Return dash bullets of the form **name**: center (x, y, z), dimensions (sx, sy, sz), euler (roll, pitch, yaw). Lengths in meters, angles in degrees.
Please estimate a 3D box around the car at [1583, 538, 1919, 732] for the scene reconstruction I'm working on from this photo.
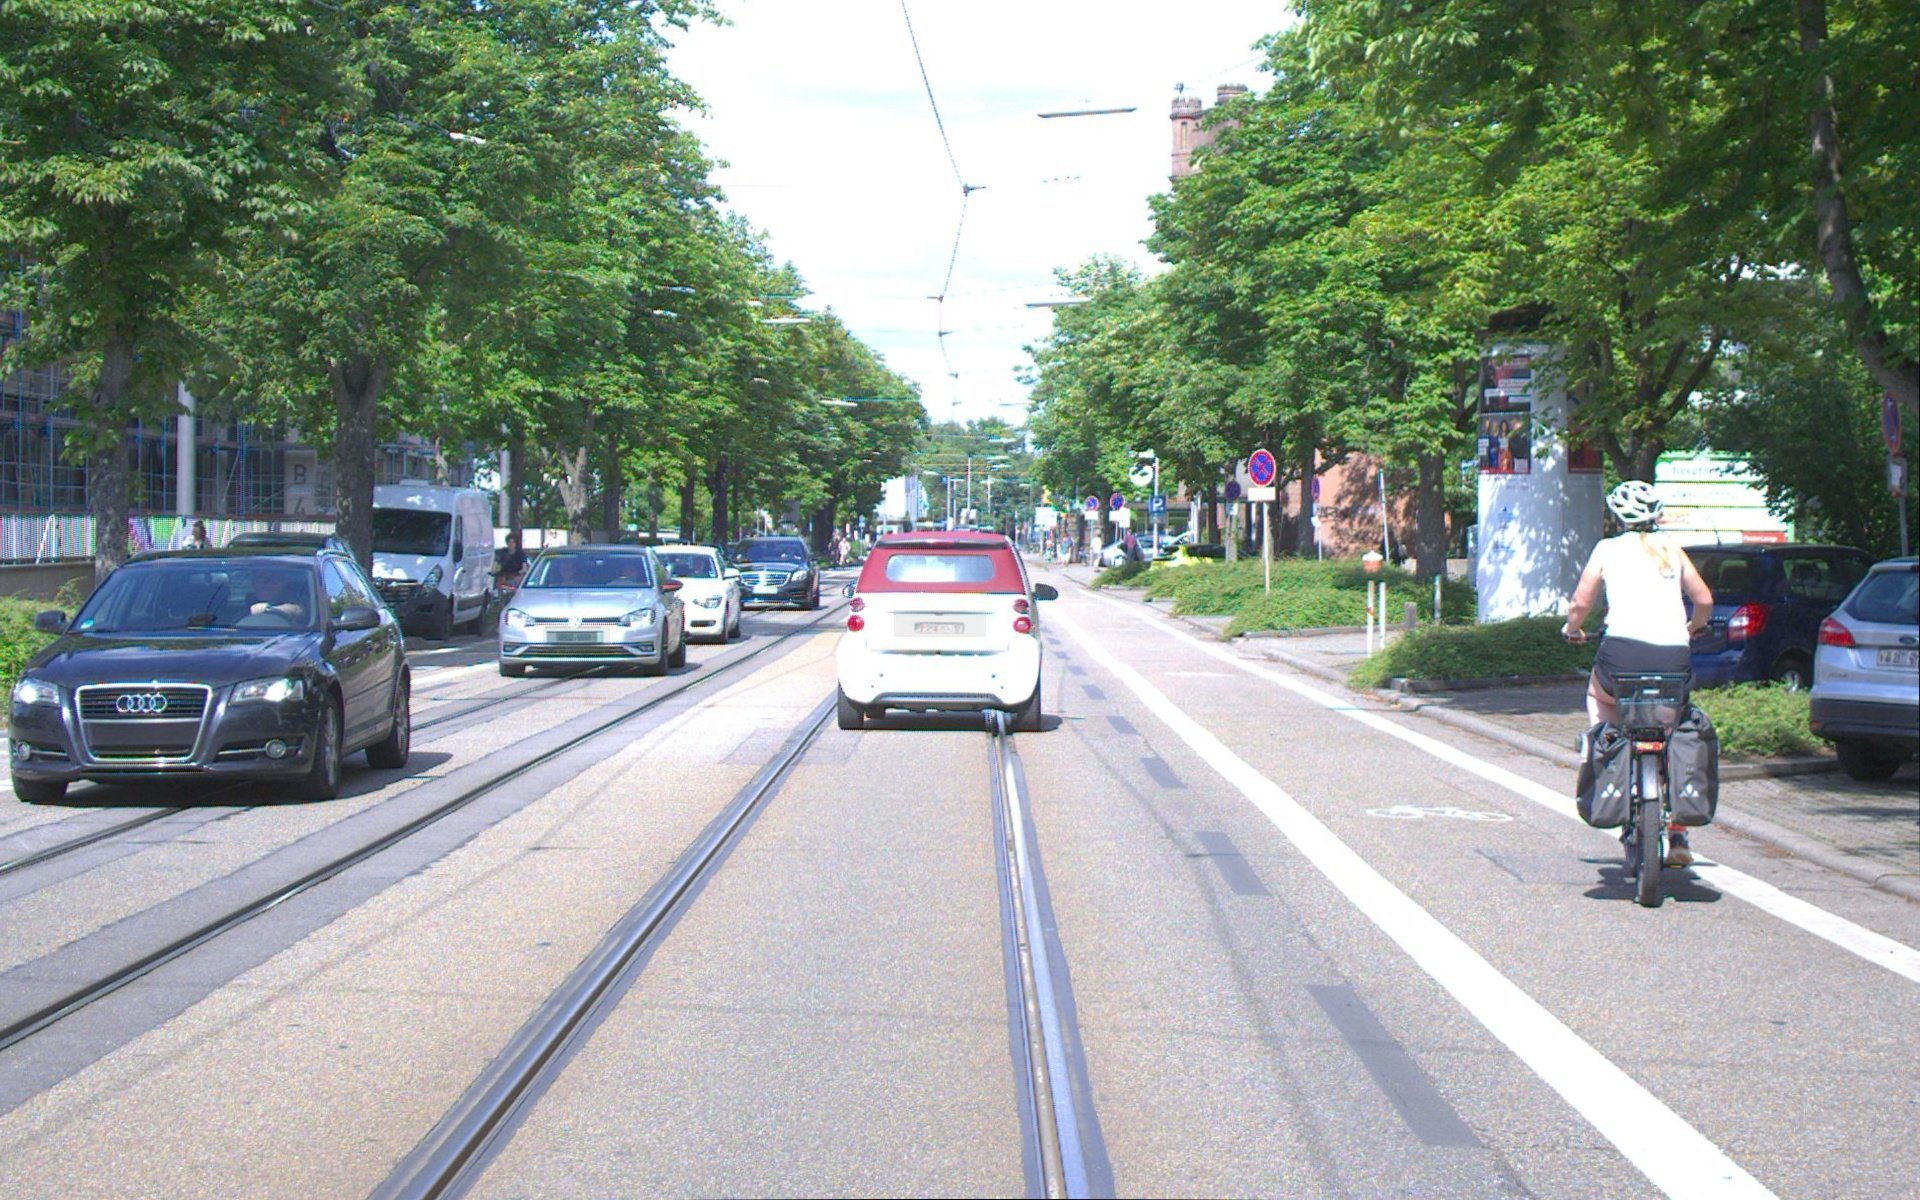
- **car**: center (7.039, 0.239, 28.750), dimensions (1.615, 1.481, 3.990), euler (0, 2, 45)

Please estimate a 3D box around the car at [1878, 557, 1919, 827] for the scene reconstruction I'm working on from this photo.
- **car**: center (7.112, 0.506, 18.926), dimensions (4.230, 1.415, 1.723), euler (0, 2, -38)

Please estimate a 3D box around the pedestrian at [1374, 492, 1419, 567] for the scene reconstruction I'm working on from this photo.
- **pedestrian**: center (11.809, -1.906, 93.058), dimensions (0.977, 2.007, 1.093), euler (2, 1, -1)

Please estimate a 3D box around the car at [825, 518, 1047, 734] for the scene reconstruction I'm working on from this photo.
- **car**: center (-0.206, 0.154, 27.747), dimensions (1.665, 1.619, 3.621), euler (0, 1, -1)

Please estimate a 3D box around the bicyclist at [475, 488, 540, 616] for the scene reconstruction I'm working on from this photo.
- **bicyclist**: center (-7.197, -0.760, 54.704), dimensions (0.876, 2.007, 0.834), euler (-2, 0, -1)

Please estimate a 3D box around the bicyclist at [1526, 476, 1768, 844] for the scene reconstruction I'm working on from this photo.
- **bicyclist**: center (2.985, 0.246, 15.041), dimensions (0.890, 1.523, 1.085), euler (2, 1, 6)

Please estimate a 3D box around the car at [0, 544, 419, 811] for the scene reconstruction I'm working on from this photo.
- **car**: center (-4.366, 0.387, 20.331), dimensions (1.723, 1.371, 4.000), euler (-2, 1, -1)

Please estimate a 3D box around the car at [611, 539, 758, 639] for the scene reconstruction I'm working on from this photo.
- **car**: center (-4.001, -0.185, 50.481), dimensions (1.686, 1.401, 4.226), euler (0, 1, 2)

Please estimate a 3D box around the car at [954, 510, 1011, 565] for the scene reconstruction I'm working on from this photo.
- **car**: center (0.676, -1.957, 106.752), dimensions (1.665, 1.619, 3.621), euler (2, 1, 0)

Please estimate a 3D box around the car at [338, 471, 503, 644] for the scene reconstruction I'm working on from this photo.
- **car**: center (-8.722, -0.694, 55.985), dimensions (1.769, 2.630, 5.322), euler (2, 1, 0)

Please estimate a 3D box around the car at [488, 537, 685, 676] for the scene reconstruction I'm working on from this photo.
- **car**: center (-4.093, 0.042, 38.137), dimensions (1.773, 1.411, 3.852), euler (-1, 1, -1)

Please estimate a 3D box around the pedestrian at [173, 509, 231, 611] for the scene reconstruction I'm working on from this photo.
- **pedestrian**: center (-12.288, -0.651, 55.733), dimensions (0.764, 1.614, 0.594), euler (2, 1, 0)

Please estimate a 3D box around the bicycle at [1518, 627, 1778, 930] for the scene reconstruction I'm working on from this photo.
- **bicycle**: center (2.947, 0.729, 14.936), dimensions (0.875, 1.122, 2.136), euler (2, 2, 6)

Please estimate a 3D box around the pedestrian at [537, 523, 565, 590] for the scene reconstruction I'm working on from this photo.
- **pedestrian**: center (-12.225, -1.298, 102.673), dimensions (0.802, 2.007, 0.485), euler (1, 1, -8)

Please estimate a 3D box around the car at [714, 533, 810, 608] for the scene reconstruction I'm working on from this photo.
- **car**: center (-4.143, -0.639, 72.459), dimensions (1.800, 1.503, 4.536), euler (1, 1, -1)

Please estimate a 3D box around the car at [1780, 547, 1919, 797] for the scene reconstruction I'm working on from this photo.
- **car**: center (7.110, 0.450, 22.037), dimensions (3.794, 1.469, 1.652), euler (0, 2, -41)

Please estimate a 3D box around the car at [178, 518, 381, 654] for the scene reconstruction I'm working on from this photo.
- **car**: center (-8.913, -0.212, 45.319), dimensions (1.804, 1.656, 4.103), euler (2, 1, 0)
